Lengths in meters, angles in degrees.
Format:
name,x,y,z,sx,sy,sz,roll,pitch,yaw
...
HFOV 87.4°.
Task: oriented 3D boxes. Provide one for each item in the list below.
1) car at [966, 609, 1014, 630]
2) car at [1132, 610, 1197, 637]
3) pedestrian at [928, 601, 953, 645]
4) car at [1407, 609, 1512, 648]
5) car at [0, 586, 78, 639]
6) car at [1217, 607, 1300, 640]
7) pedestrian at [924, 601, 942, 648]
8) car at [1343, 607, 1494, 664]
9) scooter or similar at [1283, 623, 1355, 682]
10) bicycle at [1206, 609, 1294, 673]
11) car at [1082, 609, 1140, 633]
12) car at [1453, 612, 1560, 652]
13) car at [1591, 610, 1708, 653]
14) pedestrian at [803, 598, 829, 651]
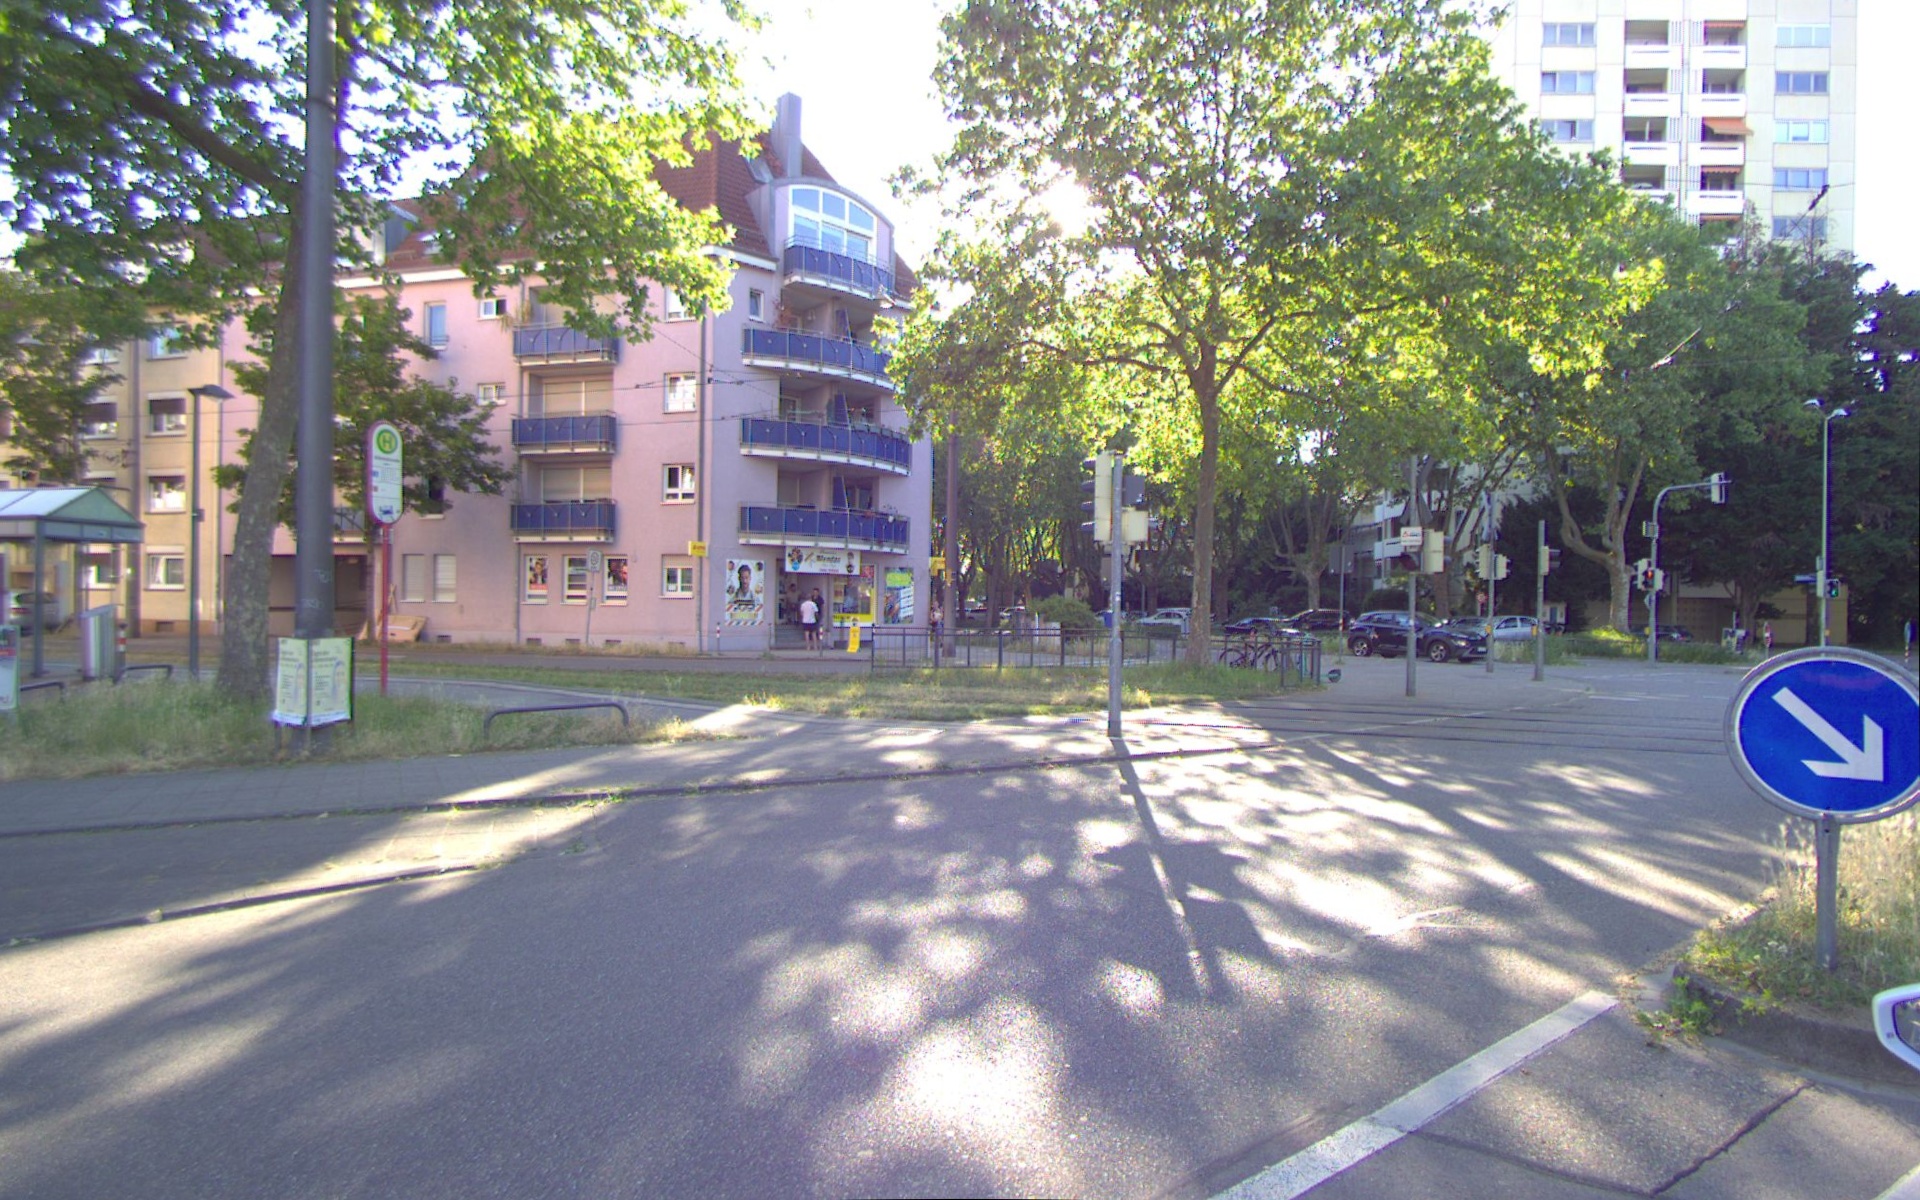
name,x,y,z,sx,sy,sz,roll,pitch,yaw
car,2.610,1.675,86.362,3.919,1.617,1.739,2,0,9
car,13.403,1.556,65.979,3.921,1.617,1.738,2,0,0
pedestrian,-0.783,0.915,40.137,0.908,1.689,0.619,2,0,-4
car,22.841,1.301,46.028,3.921,1.617,1.738,2,0,0
car,-33.479,0.397,35.215,4.029,1.728,1.940,2,0,16
car,15.913,1.244,53.677,3.921,1.617,1.738,2,0,0
pedestrian,-0.979,0.878,36.342,0.540,1.689,0.620,2,0,6
car,14.295,1.072,31.472,1.722,1.617,3.959,2,0,-36
scooter or similar,7.922,1.151,22.200,1.412,1.255,0.414,2,0,9
bicycle,6.399,0.886,22.241,1.811,1.324,0.382,2,0,34
car,11.085,1.528,73.894,3.921,1.617,1.738,2,0,0
car,23.881,1.393,43.978,3.732,1.617,1.738,2,0,0
car,31.620,1.413,46.197,1.971,1.798,3.979,2,0,-22
pedestrian,-4.690,0.797,32.676,0.610,1.689,0.549,2,0,38
